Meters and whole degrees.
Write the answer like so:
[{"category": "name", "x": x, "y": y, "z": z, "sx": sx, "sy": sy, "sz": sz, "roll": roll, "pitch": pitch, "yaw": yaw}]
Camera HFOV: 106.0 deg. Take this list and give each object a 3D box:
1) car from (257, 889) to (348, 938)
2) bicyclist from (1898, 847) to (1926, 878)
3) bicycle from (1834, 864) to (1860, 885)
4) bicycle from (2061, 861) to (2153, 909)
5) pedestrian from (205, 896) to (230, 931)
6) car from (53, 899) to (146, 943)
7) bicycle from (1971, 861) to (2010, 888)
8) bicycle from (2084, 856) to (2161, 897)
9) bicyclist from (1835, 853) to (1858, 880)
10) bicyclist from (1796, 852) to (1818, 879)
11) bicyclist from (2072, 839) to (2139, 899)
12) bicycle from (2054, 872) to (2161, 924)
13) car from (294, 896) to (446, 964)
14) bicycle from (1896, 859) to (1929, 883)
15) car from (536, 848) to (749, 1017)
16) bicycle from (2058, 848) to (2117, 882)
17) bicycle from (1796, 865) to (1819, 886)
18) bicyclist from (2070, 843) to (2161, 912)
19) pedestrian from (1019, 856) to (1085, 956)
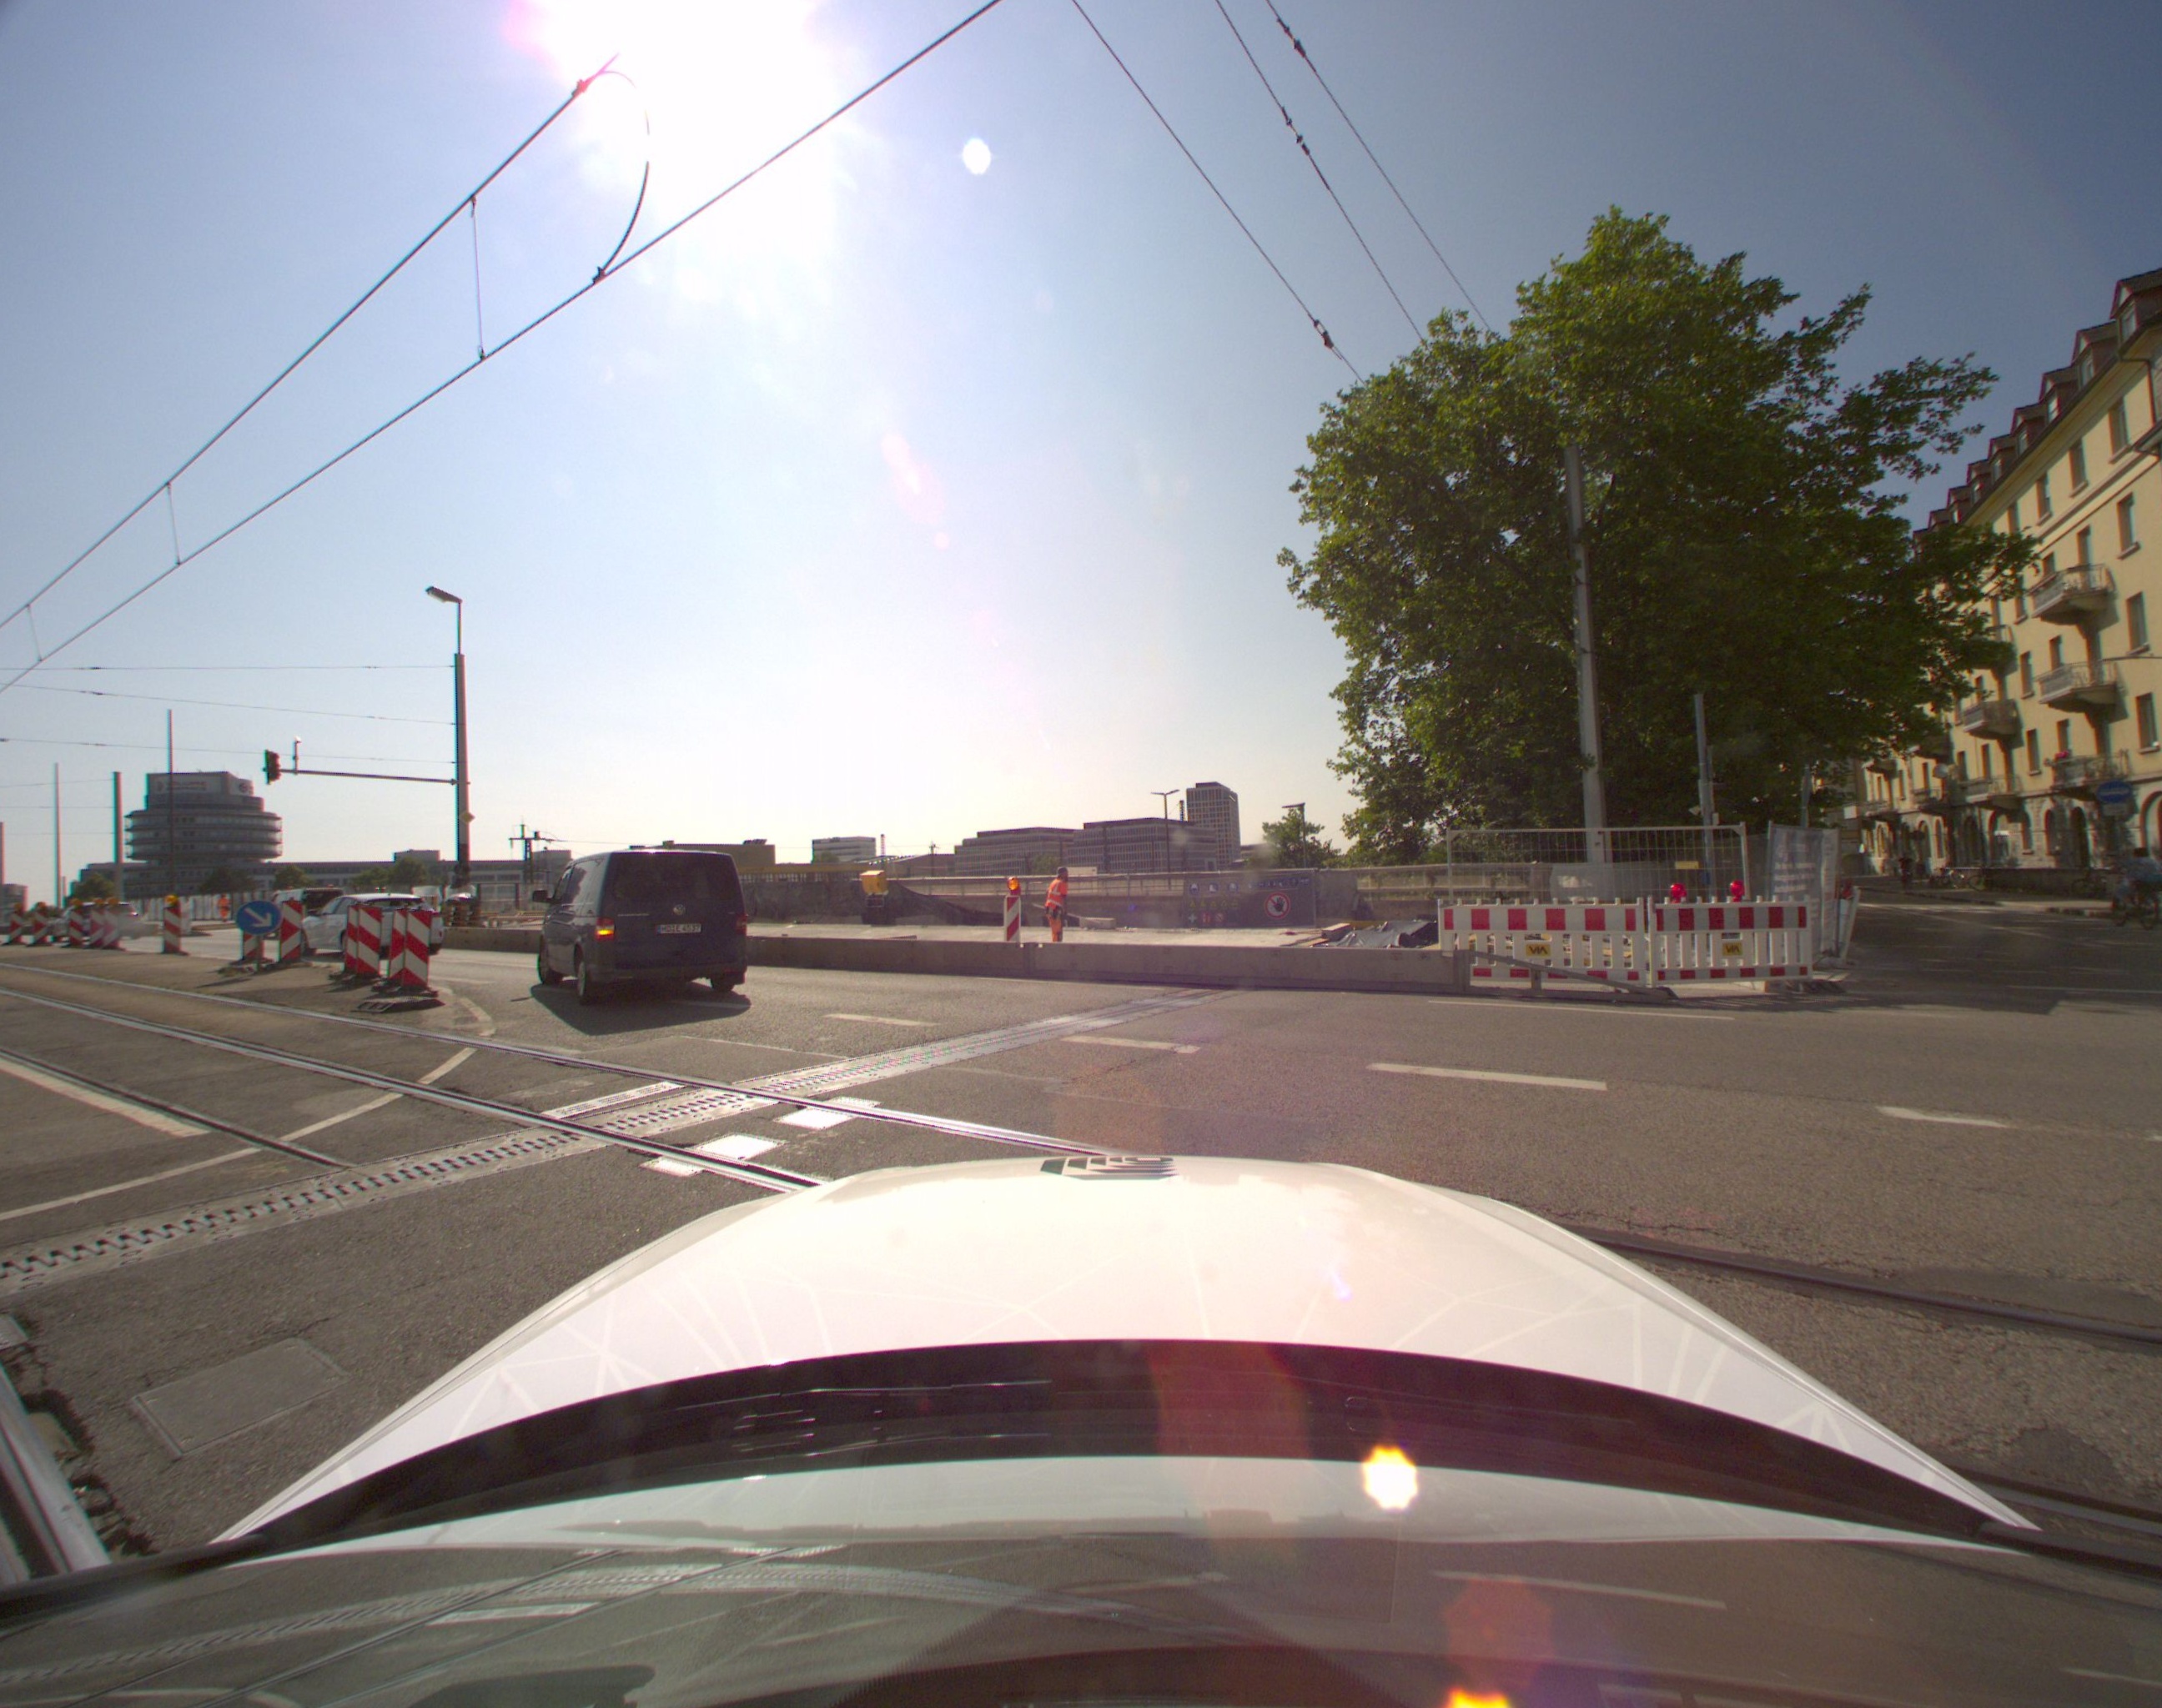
[{"category": "car", "x": -35.807, "y": 2.749, "z": 37.441, "sx": 4.827, "sy": 2.033, "sz": 1.896, "roll": -4, "pitch": -3, "yaw": 32}, {"category": "bicyclist", "x": 42.382, "y": 0.443, "z": 41.525, "sx": 0.829, "sy": 1.537, "sz": 1.030, "roll": -3, "pitch": -2, "yaw": 39}, {"category": "bicycle", "x": 43.790, "y": 1.172, "z": 46.559, "sx": 0.829, "sy": 1.137, "sz": 2.876, "roll": -3, "pitch": -2, "yaw": 39}, {"category": "bicycle", "x": 26.553, "y": 0.779, "z": 21.131, "sx": 0.829, "sy": 1.137, "sz": 2.877, "roll": -3, "pitch": -2, "yaw": 39}, {"category": "pedestrian", "x": -51.198, "y": 3.527, "z": 48.269, "sx": 0.789, "sy": 1.935, "sz": 0.789, "roll": -4, "pitch": -1, "yaw": 31}, {"category": "car", "x": -38.219, "y": 2.586, "z": 31.708, "sx": 3.650, "sy": 1.532, "sz": 1.734, "roll": -3, "pitch": -2, "yaw": 30}, {"category": "bicycle", "x": 39.593, "y": 0.889, "z": 35.473, "sx": 0.673, "sy": 1.075, "sz": 2.307, "roll": -3, "pitch": -1, "yaw": 37}, {"category": "bicycle", "x": 30.748, "y": 0.632, "z": 24.016, "sx": 0.829, "sy": 1.137, "sz": 2.877, "roll": -3, "pitch": -2, "yaw": 39}, {"category": "bicyclist", "x": 43.783, "y": 0.707, "z": 46.566, "sx": 0.829, "sy": 1.537, "sz": 1.030, "roll": -3, "pitch": -2, "yaw": 39}, {"category": "bicyclist", "x": 41.628, "y": 0.654, "z": 46.716, "sx": 0.829, "sy": 1.537, "sz": 1.030, "roll": -3, "pitch": -2, "yaw": 39}, {"category": "bicyclist", "x": 26.471, "y": 0.390, "z": 21.071, "sx": 0.829, "sy": 1.508, "sz": 0.959, "roll": -3, "pitch": -2, "yaw": 39}, {"category": "bicycle", "x": 22.100, "y": 0.916, "z": 17.427, "sx": 0.857, "sy": 0.990, "sz": 2.260, "roll": -2, "pitch": -1, "yaw": 29}, {"category": "car", "x": -16.822, "y": 1.742, "z": 19.252, "sx": 3.368, "sy": 1.405, "sz": 1.734, "roll": -3, "pitch": -2, "yaw": 30}, {"category": "bicycle", "x": 42.508, "y": 0.868, "z": 41.661, "sx": 0.829, "sy": 1.137, "sz": 2.876, "roll": -3, "pitch": -2, "yaw": 39}, {"category": "car", "x": -6.361, "y": 0.957, "z": 11.582, "sx": 1.831, "sy": 1.905, "sz": 4.006, "roll": -3, "pitch": 0, "yaw": -40}, {"category": "bicycle", "x": 33.651, "y": 0.368, "z": 27.263, "sx": 0.673, "sy": 1.075, "sz": 2.307, "roll": -3, "pitch": -1, "yaw": 37}, {"category": "bicycle", "x": 41.617, "y": 1.220, "z": 46.679, "sx": 0.829, "sy": 1.137, "sz": 2.876, "roll": -3, "pitch": -2, "yaw": 39}, {"category": "bicyclist", "x": 22.088, "y": 0.504, "z": 17.415, "sx": 0.857, "sy": 1.415, "sz": 0.923, "roll": -2, "pitch": -1, "yaw": 29}, {"category": "pedestrian", "x": -0.541, "y": 0.969, "z": 15.392, "sx": 0.811, "sy": 1.795, "sz": 0.869, "roll": -3, "pitch": 0, "yaw": 30}]
